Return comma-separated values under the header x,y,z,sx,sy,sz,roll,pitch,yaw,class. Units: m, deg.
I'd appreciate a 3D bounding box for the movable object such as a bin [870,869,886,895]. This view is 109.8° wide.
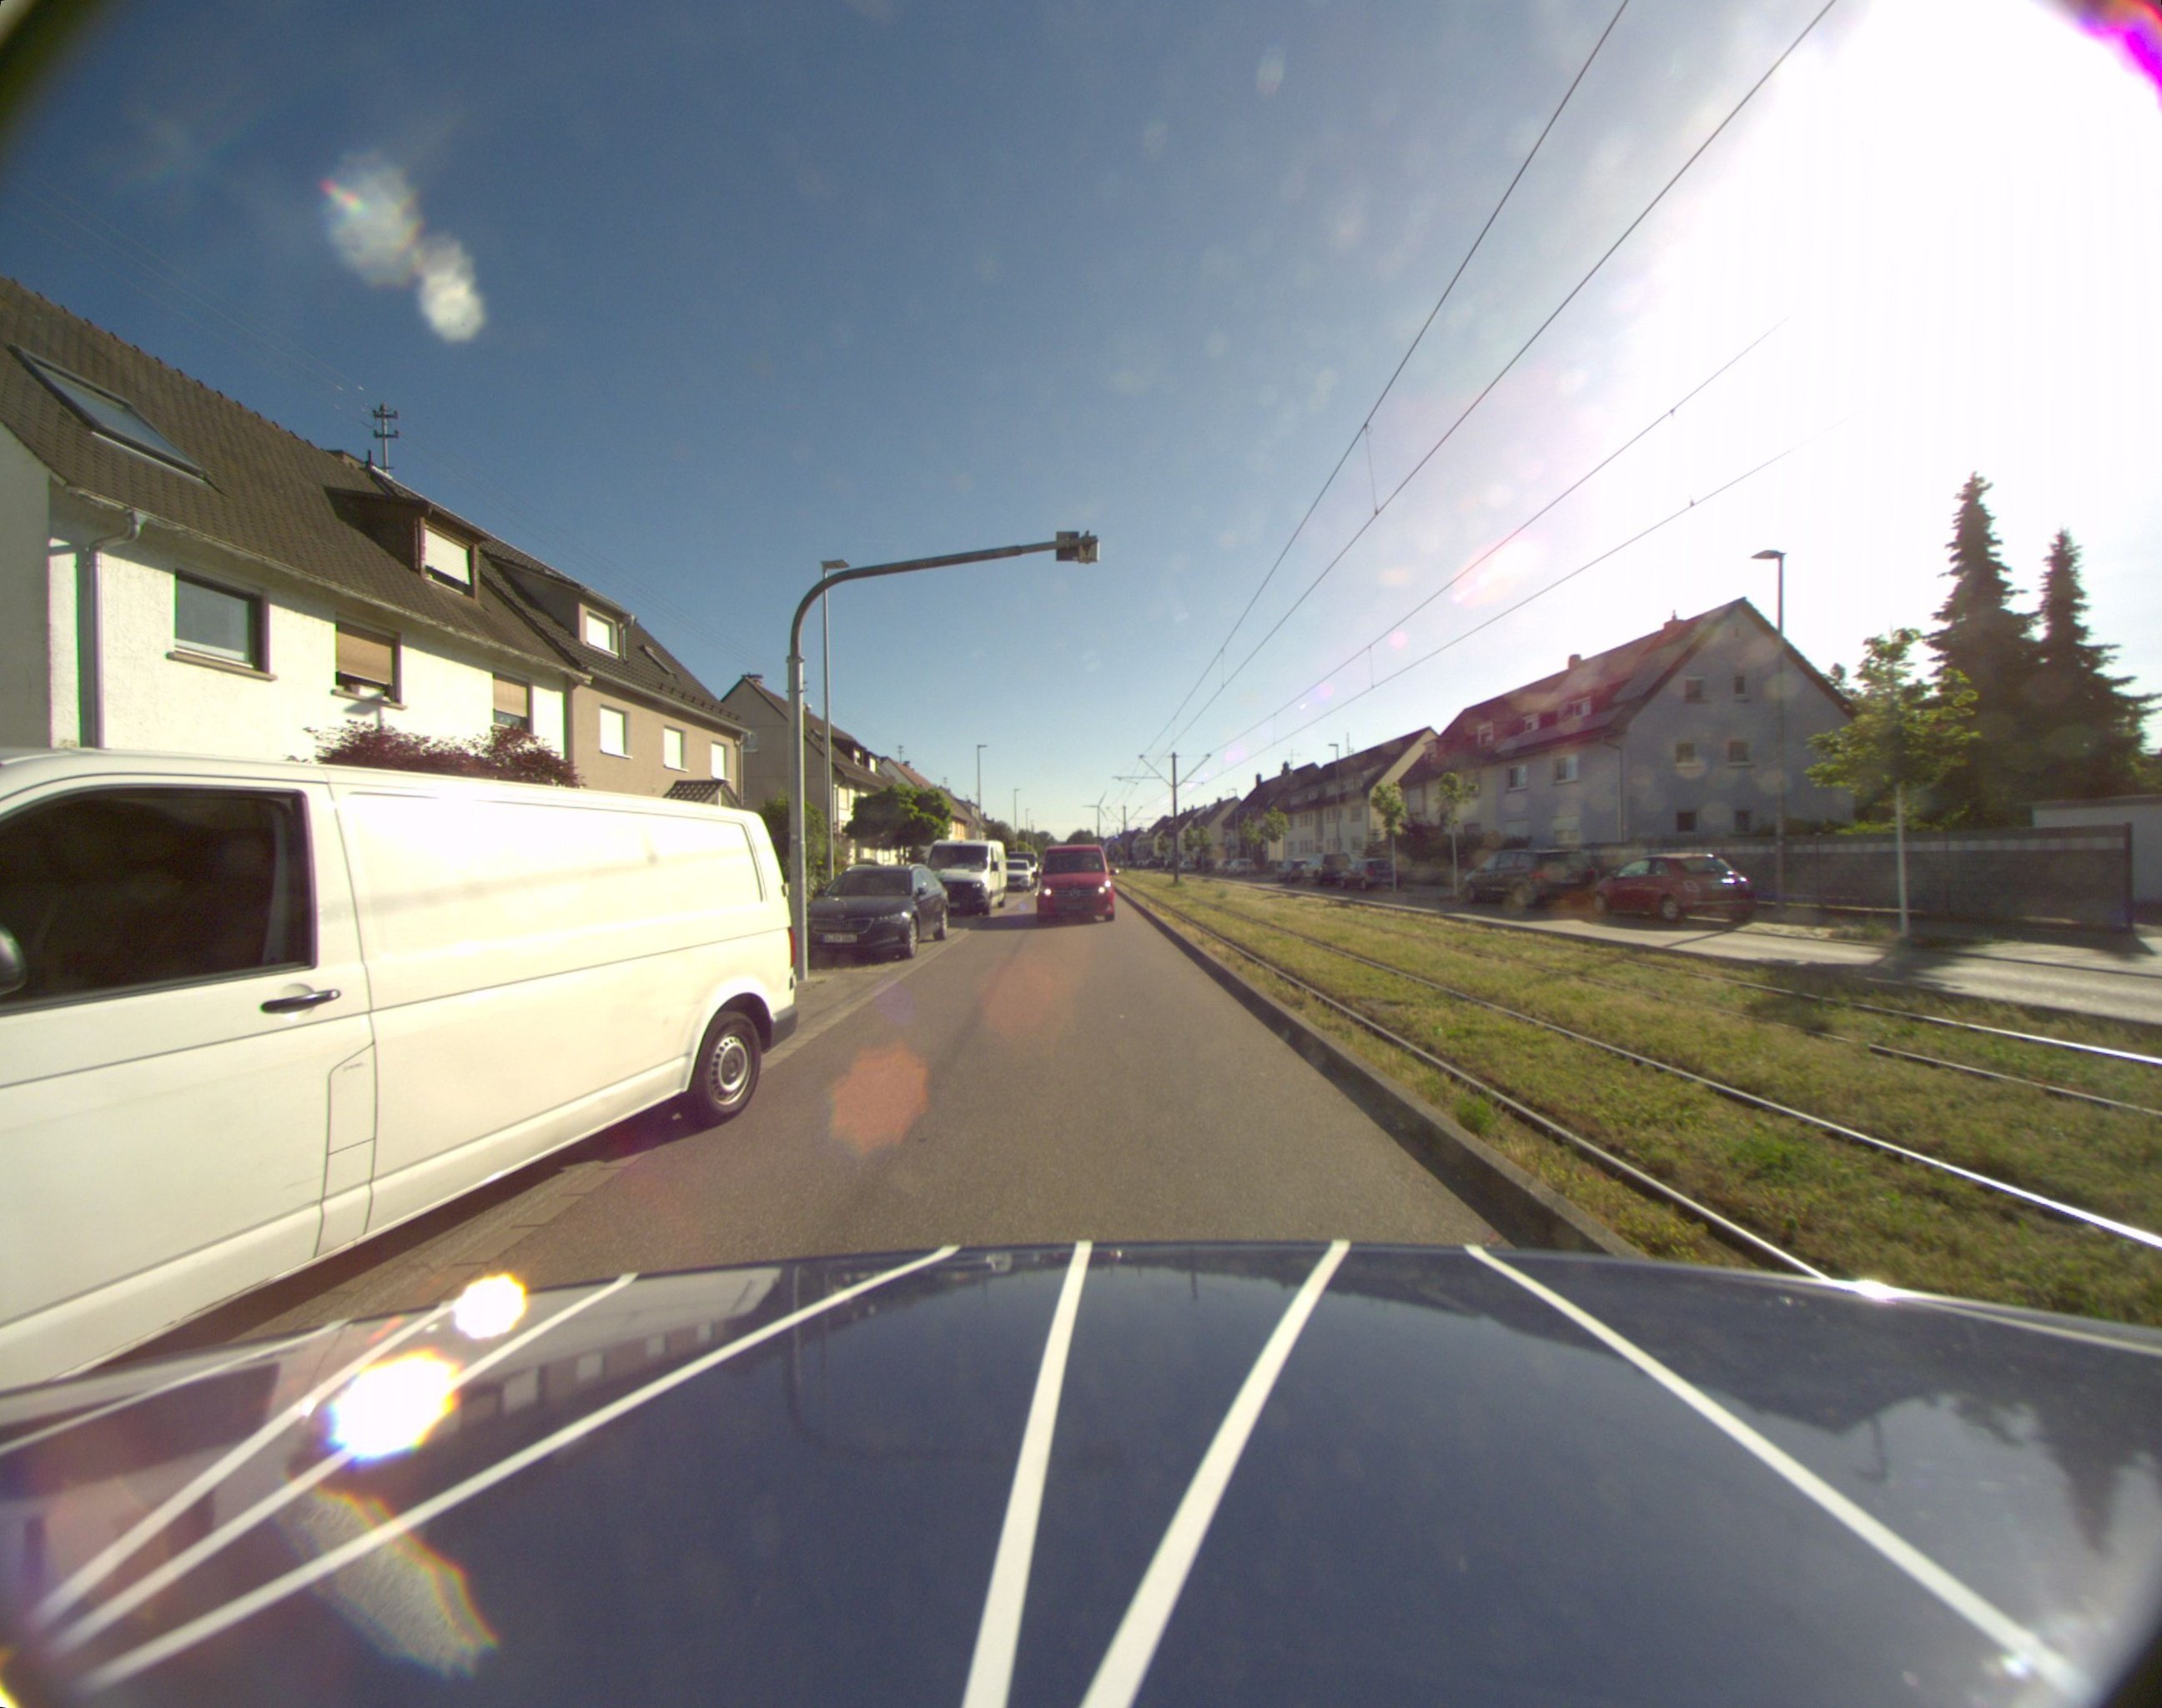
x,y,z,sx,sy,sz,roll,pitch,yaw,class
-8.457,1.166,31.654,0.516,1.038,0.464,0,0,0,movable object such as a bin

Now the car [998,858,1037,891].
x,y,z,sx,sy,sz,roll,pitch,yaw,class
-3.323,1.036,40.500,1.730,1.636,4.318,1,0,0,car

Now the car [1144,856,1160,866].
x,y,z,sx,sy,sz,roll,pitch,yaw,class
12.004,1.205,128.240,1.926,1.551,4.857,-2,0,-2,car

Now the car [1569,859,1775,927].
x,y,z,sx,sy,sz,roll,pitch,yaw,class
13.611,0.831,17.844,1.699,1.396,4.079,-1,0,1,car

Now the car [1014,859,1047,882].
x,y,z,sx,sy,sz,roll,pitch,yaw,class
-3.474,1.125,53.123,1.857,1.435,5.614,1,0,1,car

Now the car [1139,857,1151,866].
x,y,z,sx,sy,sz,roll,pitch,yaw,class
11.644,1.356,138.734,1.658,1.447,4.400,-2,0,-2,car

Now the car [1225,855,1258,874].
x,y,z,sx,sy,sz,roll,pitch,yaw,class
13.664,0.863,64.842,1.693,1.467,4.442,-2,0,-2,car

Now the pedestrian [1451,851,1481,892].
x,y,z,sx,sy,sz,roll,pitch,yaw,class
15.605,0.689,30.819,0.697,1.630,0.919,-2,1,-2,pedestrian

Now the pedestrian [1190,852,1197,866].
x,y,z,sx,sy,sz,roll,pitch,yaw,class
14.843,0.679,100.470,0.617,1.804,0.678,-2,1,-10,pedestrian

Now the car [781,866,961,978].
x,y,z,sx,sy,sz,roll,pitch,yaw,class
-3.445,1.028,13.534,1.753,1.485,5.154,1,0,0,car

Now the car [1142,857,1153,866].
x,y,z,sx,sy,sz,roll,pitch,yaw,class
11.667,1.339,133.525,1.469,1.459,3.998,0,-1,-3,car

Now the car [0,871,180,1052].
x,y,z,sx,sy,sz,roll,pitch,yaw,class
-11.414,0.939,6.601,4.724,1.469,1.906,-1,1,-2,car

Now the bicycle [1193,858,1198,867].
x,y,z,sx,sy,sz,roll,pitch,yaw,class
15.209,1.070,100.660,0.478,1.156,1.872,-2,0,4,bicycle

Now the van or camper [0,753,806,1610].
x,y,z,sx,sy,sz,roll,pitch,yaw,class
-3.323,0.755,2.867,2.032,1.945,5.298,0,0,8,van or camper

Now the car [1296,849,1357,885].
x,y,z,sx,sy,sz,roll,pitch,yaw,class
13.606,0.703,42.364,1.749,1.812,4.841,-3,0,0,car

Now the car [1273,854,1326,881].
x,y,z,sx,sy,sz,roll,pitch,yaw,class
13.874,0.824,48.469,1.965,1.531,4.556,-2,0,0,car

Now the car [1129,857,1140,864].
x,y,z,sx,sy,sz,roll,pitch,yaw,class
10.842,1.253,153.472,1.705,1.389,4.091,-2,0,-2,car

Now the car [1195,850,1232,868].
x,y,z,sx,sy,sz,roll,pitch,yaw,class
17.853,0.658,102.581,4.472,2.068,1.787,-4,1,0,car

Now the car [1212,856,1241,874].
x,y,z,sx,sy,sz,roll,pitch,yaw,class
13.582,1.011,70.912,1.693,1.464,4.313,-2,0,-2,car

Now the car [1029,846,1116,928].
x,y,z,sx,sy,sz,roll,pitch,yaw,class
-0.282,0.772,20.629,1.999,1.889,5.389,-2,0,-2,car

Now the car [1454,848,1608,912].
x,y,z,sx,sy,sz,roll,pitch,yaw,class
13.555,0.723,23.289,1.824,1.674,4.846,-3,0,0,car

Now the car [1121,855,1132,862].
x,y,z,sx,sy,sz,roll,pitch,yaw,class
9.914,1.012,165.677,1.832,1.522,4.091,-2,0,-2,car

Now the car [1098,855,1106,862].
x,y,z,sx,sy,sz,roll,pitch,yaw,class
5.054,1.068,185.462,1.693,1.467,3.679,-2,0,-1,car

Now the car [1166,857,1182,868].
x,y,z,sx,sy,sz,roll,pitch,yaw,class
13.018,1.165,106.804,1.623,1.503,4.085,-2,0,0,car

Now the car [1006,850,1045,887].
x,y,z,sx,sy,sz,roll,pitch,yaw,class
-3.319,0.815,46.437,1.965,2.131,5.335,0,0,0,car

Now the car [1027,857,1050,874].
x,y,z,sx,sy,sz,roll,pitch,yaw,class
-3.895,1.059,70.019,1.782,1.490,4.728,0,0,0,car

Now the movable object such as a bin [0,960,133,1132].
x,y,z,sx,sy,sz,roll,pitch,yaw,class
-6.349,1.147,4.650,0.288,0.904,0.597,-2,1,3,movable object such as a bin

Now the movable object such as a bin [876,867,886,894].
x,y,z,sx,sy,sz,roll,pitch,yaw,class
-8.297,1.092,31.539,0.280,1.089,0.329,-2,1,-29,movable object such as a bin

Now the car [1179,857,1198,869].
x,y,z,sx,sy,sz,roll,pitch,yaw,class
13.252,1.116,94.018,1.662,1.428,4.102,-1,0,-2,car

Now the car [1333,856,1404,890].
x,y,z,sx,sy,sz,roll,pitch,yaw,class
13.711,0.858,36.433,1.681,1.482,4.049,-3,0,-2,car

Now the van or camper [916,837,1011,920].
x,y,z,sx,sy,sz,roll,pitch,yaw,class
-3.512,0.653,24.070,1.998,2.258,6.304,1,0,0,van or camper
